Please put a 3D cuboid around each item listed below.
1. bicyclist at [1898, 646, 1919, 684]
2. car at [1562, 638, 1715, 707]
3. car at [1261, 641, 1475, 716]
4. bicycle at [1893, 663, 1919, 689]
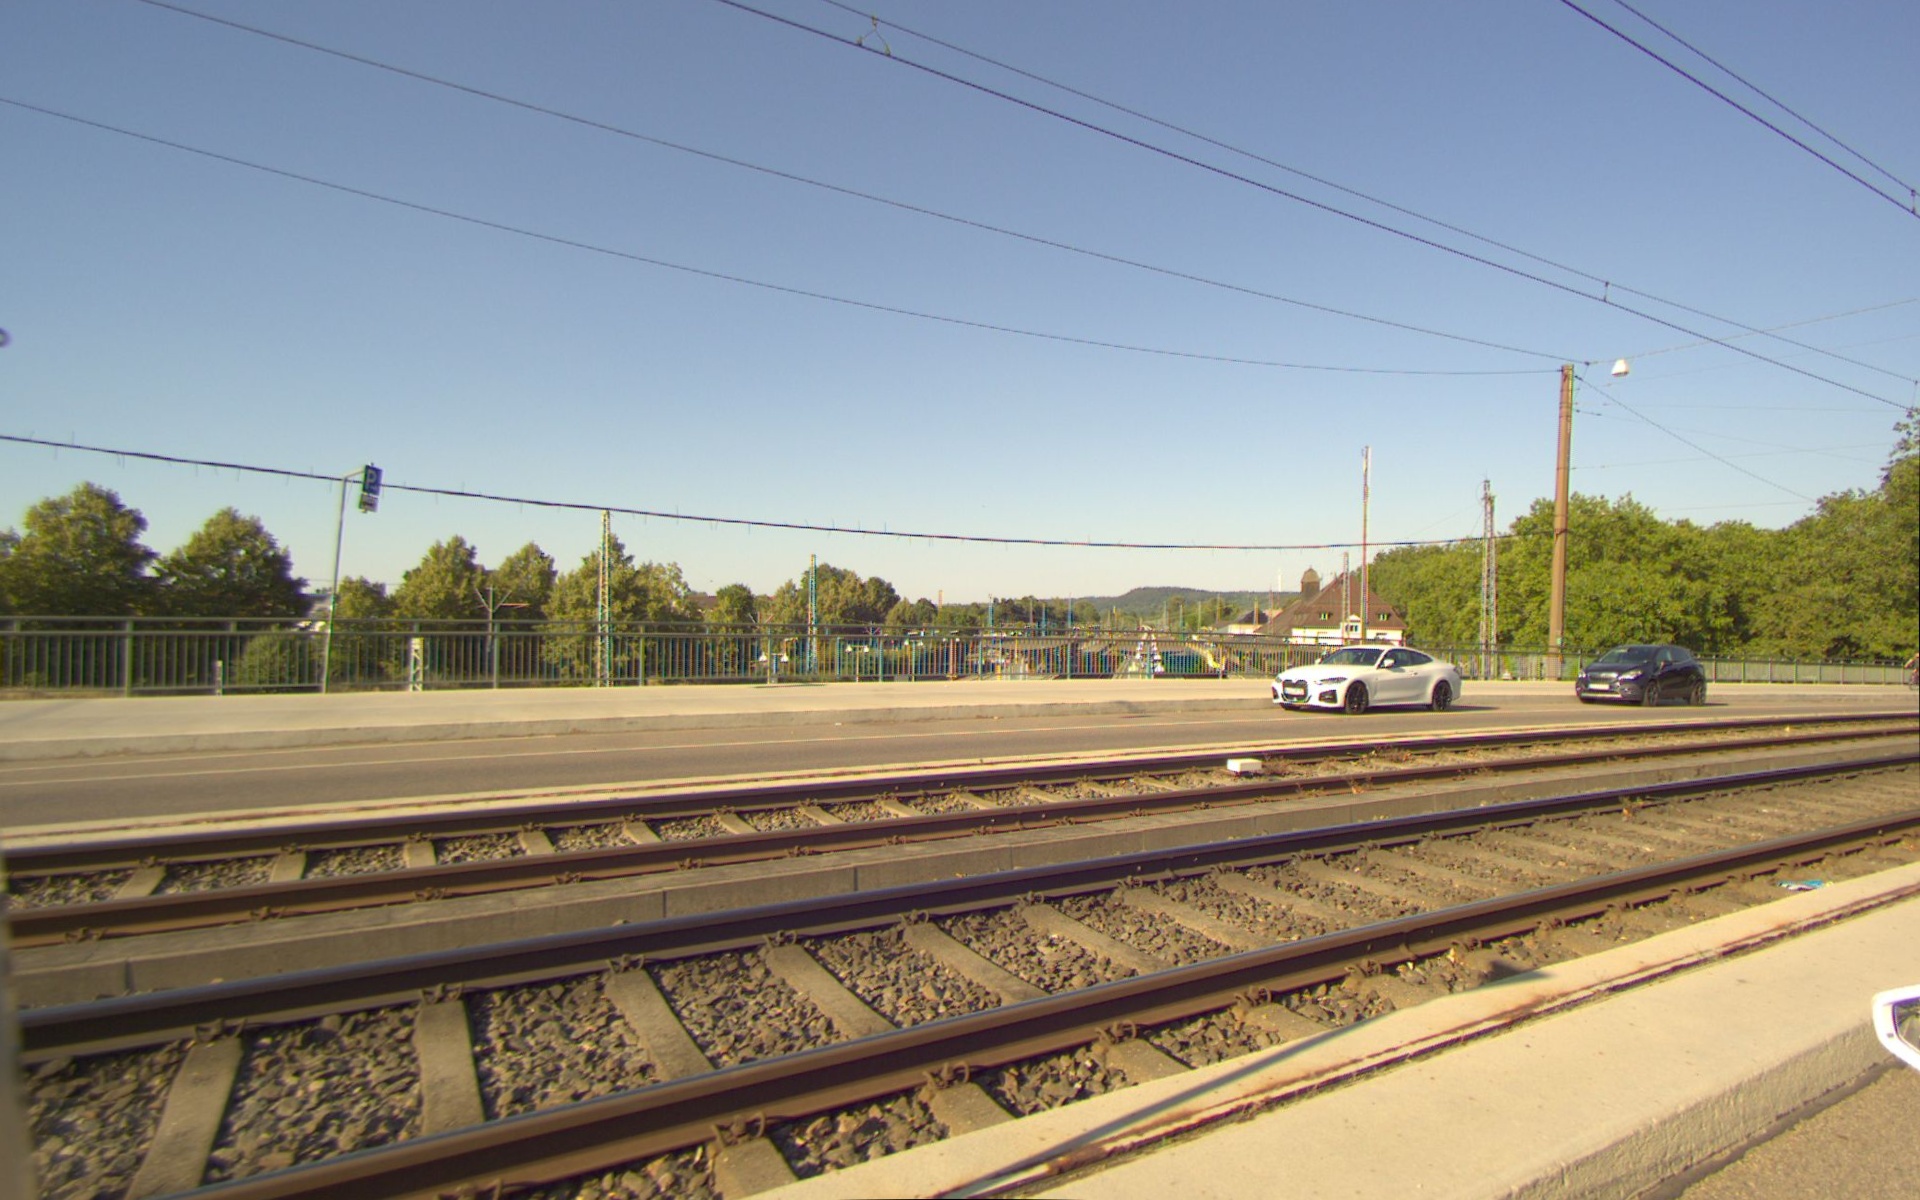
[{"bbox_3d":[43.483,2.972,45.848,0.879,1.648,0.676,2,1,-30],"label":"bicyclist"},{"bbox_3d":[18.513,1.920,27.365,4.395,1.672,1.771,1,0,-31],"label":"car"},{"bbox_3d":[8.811,1.611,21.551,4.863,1.374,1.675,1,0,-31],"label":"car"},{"bbox_3d":[43.525,3.453,45.891,2.075,1.112,0.676,2,0,-30],"label":"bicycle"}]
